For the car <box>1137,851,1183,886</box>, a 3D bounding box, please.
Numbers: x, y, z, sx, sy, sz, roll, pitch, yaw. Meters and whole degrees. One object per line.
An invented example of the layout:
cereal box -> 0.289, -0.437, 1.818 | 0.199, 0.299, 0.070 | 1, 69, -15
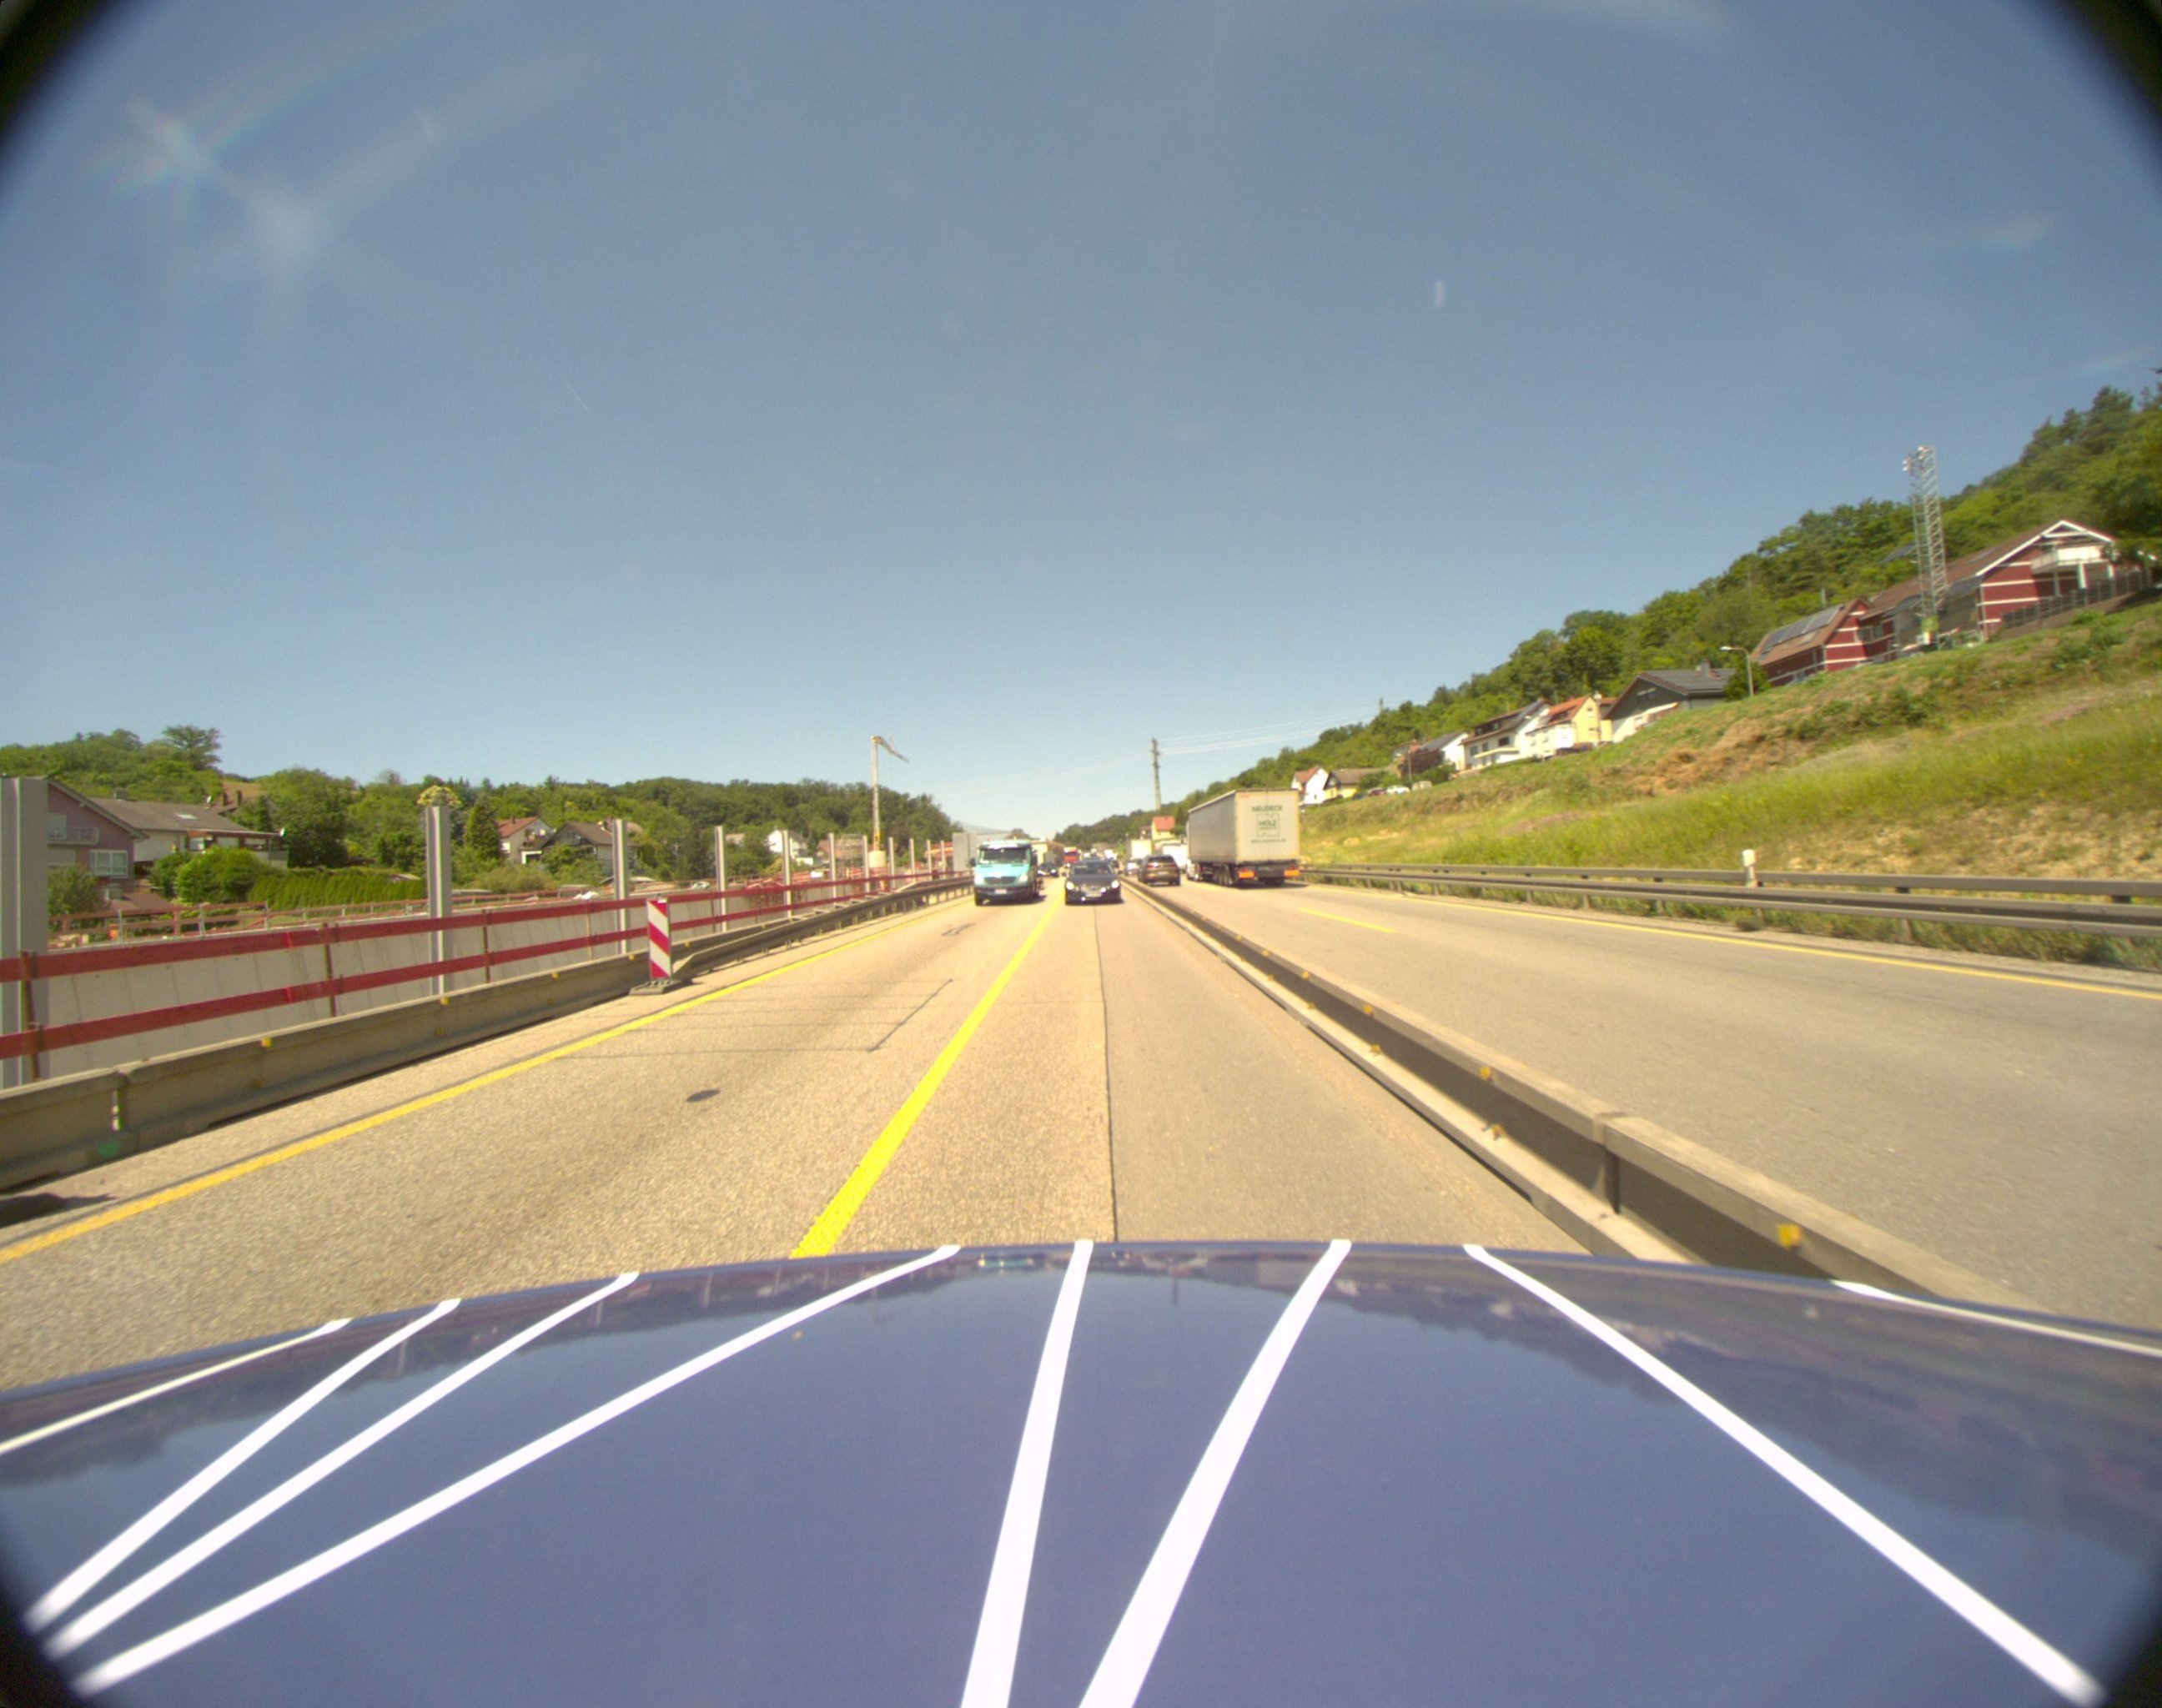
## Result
car -> 3.924, 0.694, 38.388 | 1.853, 1.577, 4.174 | -2, 0, 0

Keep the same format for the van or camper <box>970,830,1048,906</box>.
van or camper -> -2.584, 0.483, 29.262 | 2.097, 2.458, 7.671 | -2, 0, 1

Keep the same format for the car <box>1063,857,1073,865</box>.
car -> -2.277, 1.265, 137.165 | 1.679, 1.346, 3.486 | -4, 0, 1

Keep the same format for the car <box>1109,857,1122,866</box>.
car -> 5.312, 1.121, 116.959 | 1.772, 1.355, 4.411 | -2, 0, 0

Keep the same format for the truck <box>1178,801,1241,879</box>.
truck -> 7.517, -0.789, 45.065 | 2.781, 4.262, 4.676 | -2, 0, 0

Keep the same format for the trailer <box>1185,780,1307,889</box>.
trailer -> 7.514, -0.775, 37.272 | 2.817, 4.261, 14.034 | -2, 0, 0

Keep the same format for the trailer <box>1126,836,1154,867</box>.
trailer -> 8.345, -0.311, 108.706 | 2.864, 4.100, 13.437 | -2, 0, 0

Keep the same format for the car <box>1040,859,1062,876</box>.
car -> -2.609, 1.201, 66.561 | 1.611, 1.324, 3.496 | -4, 0, 1

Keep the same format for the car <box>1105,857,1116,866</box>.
car -> 5.256, 1.309, 137.606 | 1.758, 1.499, 4.000 | -4, 0, 1

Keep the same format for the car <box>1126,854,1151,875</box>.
car -> 4.440, 0.796, 59.368 | 1.633, 1.470, 3.379 | -2, 0, 0

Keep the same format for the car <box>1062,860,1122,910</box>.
car -> 0.365, 0.942, 24.932 | 1.747, 1.420, 4.000 | -2, 0, 1

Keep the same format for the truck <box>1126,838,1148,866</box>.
truck -> 8.379, -0.293, 114.829 | 2.828, 4.100, 4.598 | -2, 0, 0

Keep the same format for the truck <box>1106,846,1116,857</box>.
truck -> 10.068, -0.882, 255.237 | 2.386, 3.411, 9.304 | 0, -1, -3

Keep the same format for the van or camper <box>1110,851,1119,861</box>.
van or camper -> 9.499, 0.516, 218.066 | 2.382, 2.634, 6.052 | -2, 0, 1

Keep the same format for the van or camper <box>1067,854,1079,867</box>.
van or camper -> -1.594, 1.334, 154.009 | 2.321, 2.513, 4.528 | -4, 0, 1

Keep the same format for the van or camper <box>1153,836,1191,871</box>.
van or camper -> 7.827, -0.034, 66.257 | 2.340, 2.761, 7.517 | -2, 0, 0
